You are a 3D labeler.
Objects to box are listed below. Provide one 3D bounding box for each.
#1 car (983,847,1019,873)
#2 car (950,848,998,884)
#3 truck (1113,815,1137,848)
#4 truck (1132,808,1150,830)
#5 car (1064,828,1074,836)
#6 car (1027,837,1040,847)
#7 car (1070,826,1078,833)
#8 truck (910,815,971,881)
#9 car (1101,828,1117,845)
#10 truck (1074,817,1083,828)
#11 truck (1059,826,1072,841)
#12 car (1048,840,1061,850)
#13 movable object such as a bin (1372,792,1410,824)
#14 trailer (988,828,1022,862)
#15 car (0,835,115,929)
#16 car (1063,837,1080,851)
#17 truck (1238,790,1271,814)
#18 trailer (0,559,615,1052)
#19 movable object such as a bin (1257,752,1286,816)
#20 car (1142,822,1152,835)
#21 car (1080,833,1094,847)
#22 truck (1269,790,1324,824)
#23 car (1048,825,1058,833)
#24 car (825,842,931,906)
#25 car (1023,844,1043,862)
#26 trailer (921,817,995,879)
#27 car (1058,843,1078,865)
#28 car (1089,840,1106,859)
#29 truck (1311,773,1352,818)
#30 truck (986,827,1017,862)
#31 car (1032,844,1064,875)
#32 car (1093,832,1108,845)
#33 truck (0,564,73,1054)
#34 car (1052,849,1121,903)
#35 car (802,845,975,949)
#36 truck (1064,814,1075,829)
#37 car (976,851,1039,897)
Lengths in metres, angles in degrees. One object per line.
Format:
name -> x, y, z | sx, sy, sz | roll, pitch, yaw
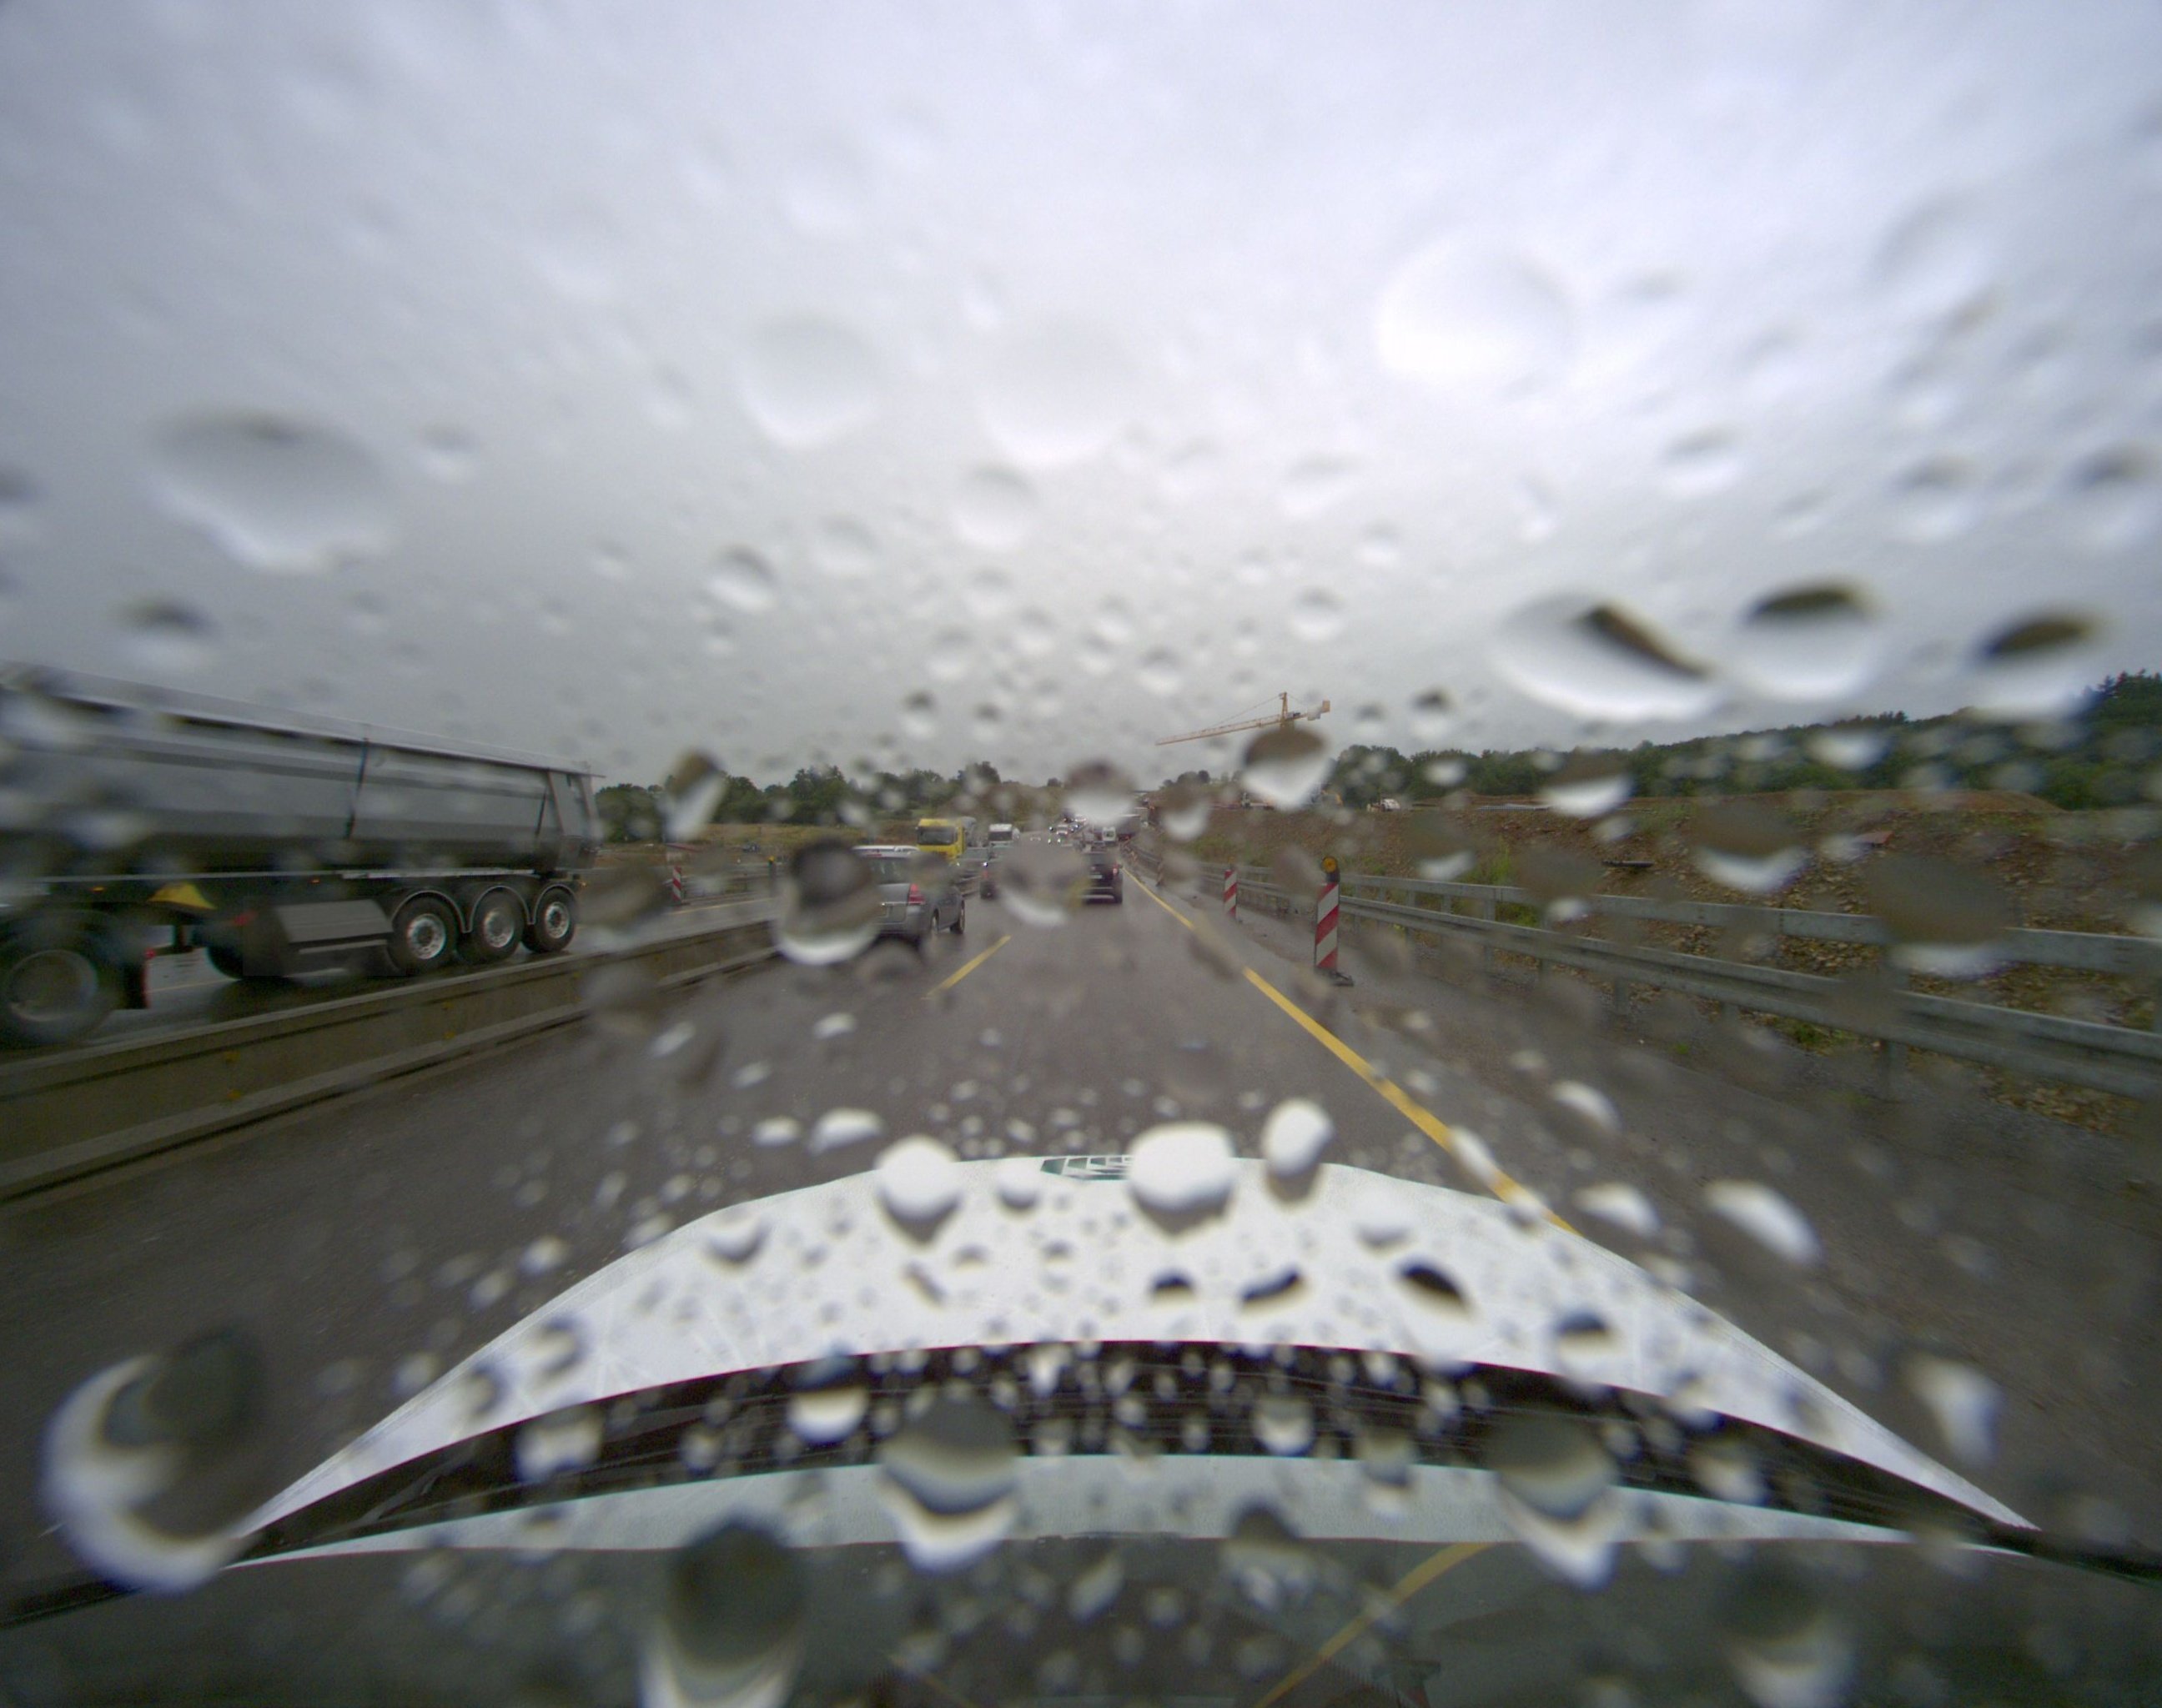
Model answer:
car -> -5.683, 0.415, 58.348 | 1.986, 1.759, 4.689 | 0, 1, 1
car -> -5.771, 0.597, 44.374 | 1.781, 1.805, 5.191 | -2, 0, 1
truck -> 7.625, -3.728, 139.684 | 3.083, 5.425, 9.467 | 0, 0, 9
truck -> 14.606, -8.469, 199.036 | 3.791, 5.042, 12.922 | 0, 0, 1
car -> -2.462, -4.538, 166.182 | 1.780, 1.538, 4.313 | -1, 1, 1
car -> -7.687, -1.971, 132.215 | 1.782, 1.546, 4.001 | 0, 1, 1
car -> -1.592, -5.515, 180.153 | 1.671, 1.523, 4.346 | -1, 2, 1
truck -> -8.997, -0.377, 52.976 | 2.739, 4.062, 6.150 | 0, 0, 1
car -> 4.131, -2.531, 119.863 | 1.984, 2.484, 4.989 | 0, 0, 5
truck -> -0.596, -7.798, 202.306 | 2.140, 2.713, 6.017 | 0, 2, 1
truck -> -2.802, -3.641, 147.182 | 2.071, 2.576, 5.962 | 0, 0, 1
car -> -4.086, -1.350, 125.644 | 1.766, 1.504, 4.680 | -1, 1, 1
movable object such as a bin -> 37.451, -5.521, 98.665 | 2.332, 3.599, 6.564 | 0, 0, 2
trailer -> -8.571, -1.011, 93.223 | 2.611, 3.677, 12.005 | 0, 0, 1
car -> -24.648, 0.602, 19.259 | 4.981, 2.013, 2.286 | 0, 0, 40
car -> -1.201, -1.230, 104.689 | 1.986, 1.761, 3.817 | 0, 0, 2
truck -> 21.638, -6.402, 101.837 | 2.636, 2.554, 6.985 | 0, 0, 1
trailer -> -9.933, -0.376, 9.828 | 2.676, 3.963, 9.822 | -2, 0, 1
movable object such as a bin -> 34.836, -12.561, 148.795 | 4.683, 10.841, 10.346 | 0, 0, 16
car -> 13.959, -5.408, 172.268 | 1.986, 2.484, 4.744 | 0, 0, 2
car -> 1.011, -2.175, 129.358 | 1.985, 2.163, 4.145 | 0, 0, 4
truck -> 20.919, -4.517, 79.704 | 3.381, 2.875, 8.966 | 0, 0, 3
car -> -5.852, -5.270, 170.483 | 1.780, 1.538, 4.313 | -1, 1, 1
car -> -6.213, 0.559, 25.611 | 1.868, 1.792, 5.360 | -1, 0, 1
car -> -5.082, -0.116, 86.353 | 1.859, 1.800, 4.163 | 0, 0, 1
trailer -> -8.793, -0.426, 60.447 | 2.739, 4.042, 15.363 | 0, 0, 1
car -> -1.343, 0.015, 83.664 | 1.988, 2.163, 4.137 | 0, 0, -2
car -> 1.959, -0.551, 95.608 | 1.986, 2.163, 4.143 | 0, 0, 2
truck -> 25.654, -5.959, 83.669 | 2.365, 4.218, 5.980 | 0, 0, 1
truck -> -8.578, -0.988, 88.208 | 2.611, 3.677, 6.595 | 0, 0, 1
car -> -2.192, 0.353, 55.787 | 1.987, 2.013, 3.894 | 0, 0, 0
car -> 3.428, -2.694, 140.029 | 1.981, 2.163, 4.152 | 0, 0, 10
truck -> -10.031, -0.325, 4.303 | 2.676, 3.927, 5.275 | -2, 0, 1
car -> 0.248, 0.658, 26.661 | 2.073, 1.600, 4.142 | 0, 0, 2
car -> -3.246, 0.660, 14.657 | 1.986, 1.600, 4.142 | 0, 0, 2
truck -> -3.094, -8.854, 219.870 | 2.633, 3.969, 9.215 | 0, 3, 0
car -> -2.714, 0.685, 30.812 | 1.987, 1.600, 4.140 | 0, 0, 0
